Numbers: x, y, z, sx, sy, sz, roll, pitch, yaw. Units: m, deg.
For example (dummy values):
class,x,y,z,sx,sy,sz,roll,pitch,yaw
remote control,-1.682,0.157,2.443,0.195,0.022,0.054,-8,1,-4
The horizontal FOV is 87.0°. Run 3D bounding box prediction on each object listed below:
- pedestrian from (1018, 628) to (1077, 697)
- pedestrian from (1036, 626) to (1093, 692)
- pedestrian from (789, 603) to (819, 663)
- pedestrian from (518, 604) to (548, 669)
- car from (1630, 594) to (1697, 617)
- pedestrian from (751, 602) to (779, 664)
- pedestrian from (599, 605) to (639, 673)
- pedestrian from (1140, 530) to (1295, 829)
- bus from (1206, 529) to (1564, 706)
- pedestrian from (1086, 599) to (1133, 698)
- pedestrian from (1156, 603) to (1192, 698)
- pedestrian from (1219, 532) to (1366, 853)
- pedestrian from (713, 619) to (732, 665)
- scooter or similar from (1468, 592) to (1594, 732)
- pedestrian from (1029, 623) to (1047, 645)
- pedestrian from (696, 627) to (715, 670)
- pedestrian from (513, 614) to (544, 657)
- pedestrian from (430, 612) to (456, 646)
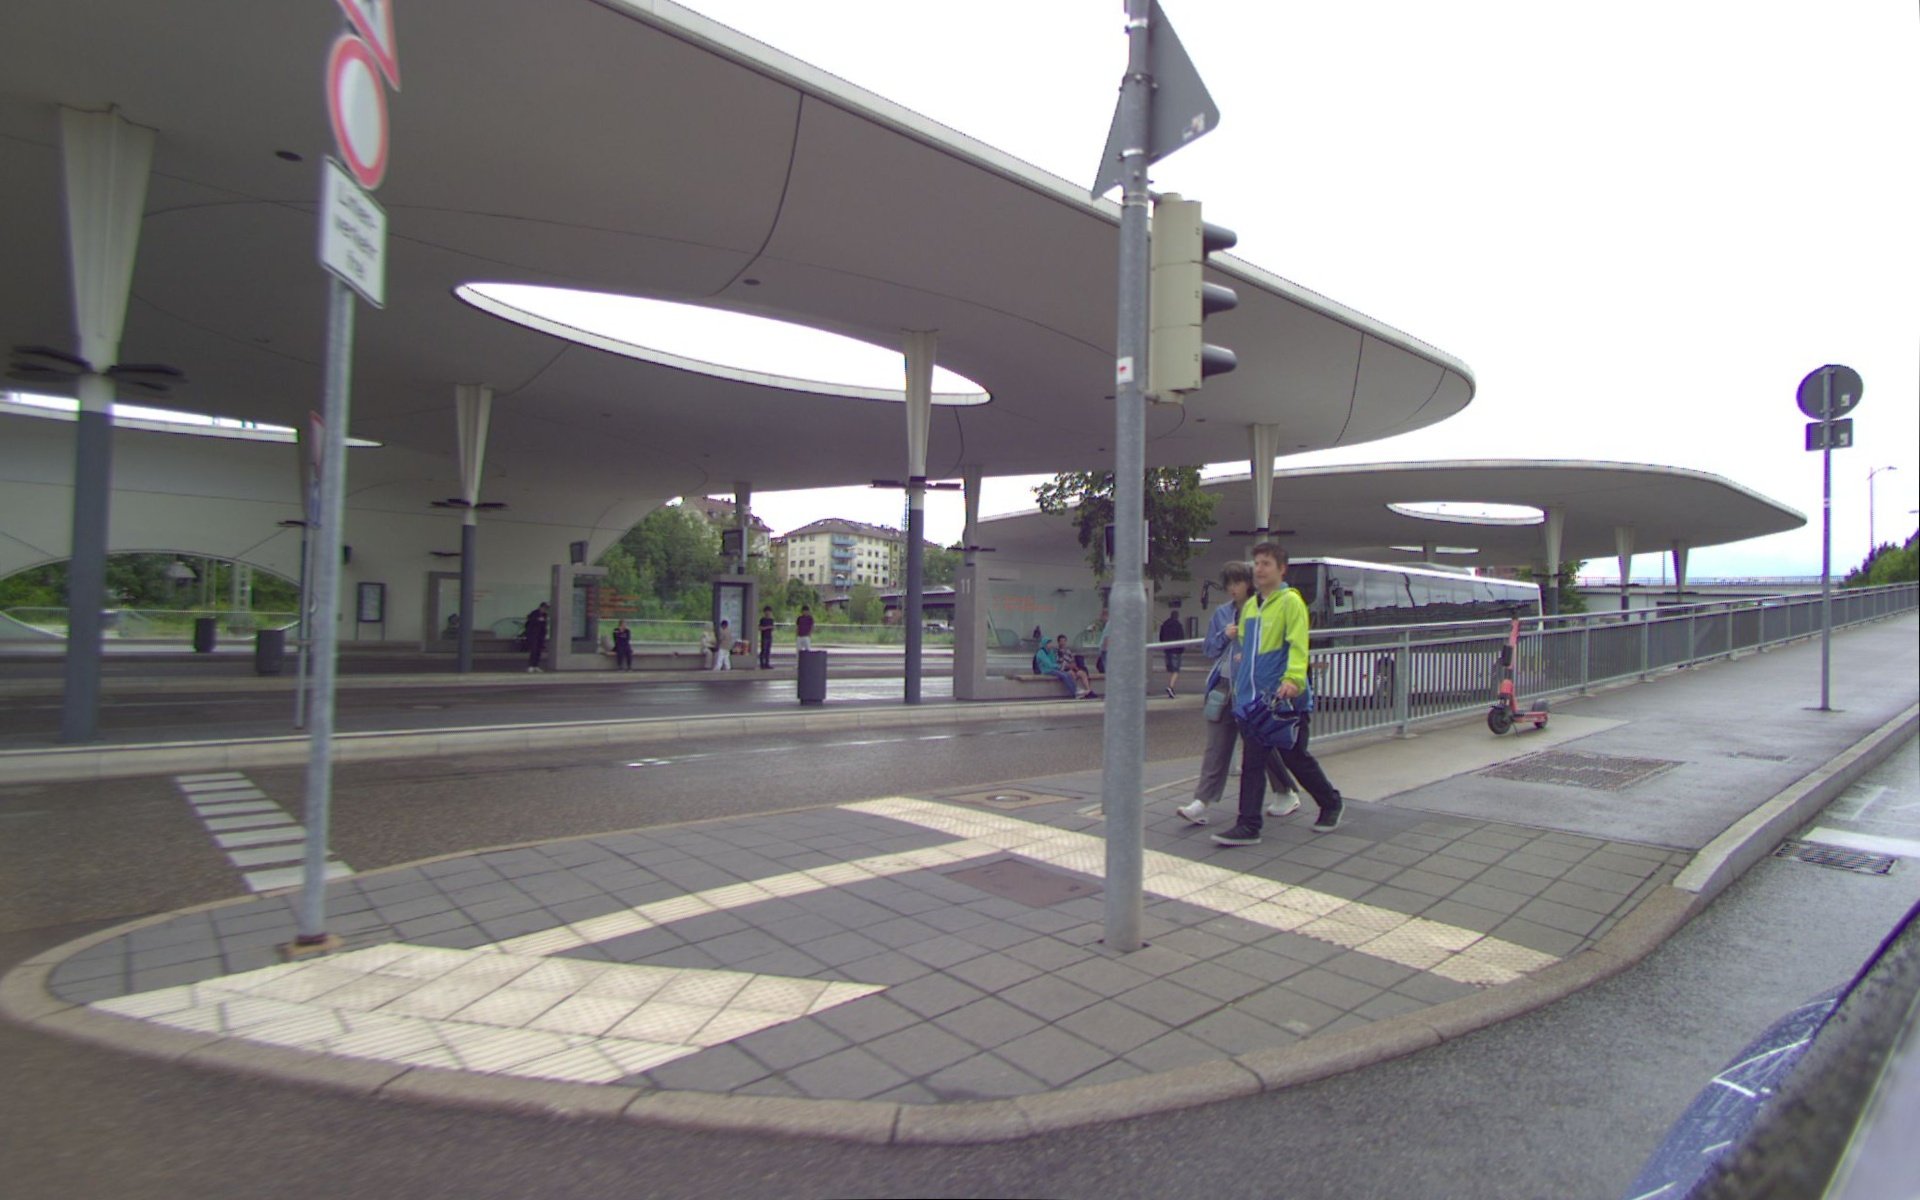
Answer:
class,x,y,z,sx,sy,sz,roll,pitch,yaw
pedestrian,1.762,1.242,20.355,0.944,1.271,0.643,4,0,26
pedestrian,2.171,1.208,20.921,0.944,1.271,0.643,4,0,26
pedestrian,-4.417,0.923,28.618,0.632,1.675,0.638,1,0,10
pedestrian,-10.106,0.863,23.953,0.513,1.521,0.381,1,-1,10
car,64.590,0.537,92.960,2.079,1.993,4.673,0,-2,-43
pedestrian,-5.377,0.916,27.941,0.546,1.675,0.571,2,-1,-34
pedestrian,-8.419,0.966,24.983,0.667,1.610,0.588,-2,-2,-45
pedestrian,1.563,0.448,6.159,0.570,1.691,0.590,-4,0,-41
bus,10.812,0.616,24.564,12.206,3.407,2.848,3,-5,-41
pedestrian,2.951,0.943,19.954,0.636,1.911,0.587,3,-3,-30
pedestrian,4.471,1.035,21.094,0.639,1.928,0.583,2,-1,14
pedestrian,1.877,0.479,5.712,0.570,1.691,0.523,-2,0,-41
pedestrian,-6.170,1.078,26.277,0.357,1.159,0.396,1,0,1
scooter or similar,5.501,0.554,9.701,1.827,1.236,0.464,1,0,-41
pedestrian,4.884,2.124,63.710,0.698,1.341,0.801,-3,-2,-35
pedestrian,-6.626,1.256,26.345,0.345,1.094,0.392,1,0,1
pedestrian,-13.996,1.151,32.823,0.786,1.341,0.711,-3,-1,-33
pedestrian,-21.085,1.177,41.276,0.787,1.341,0.711,-3,-2,-37
